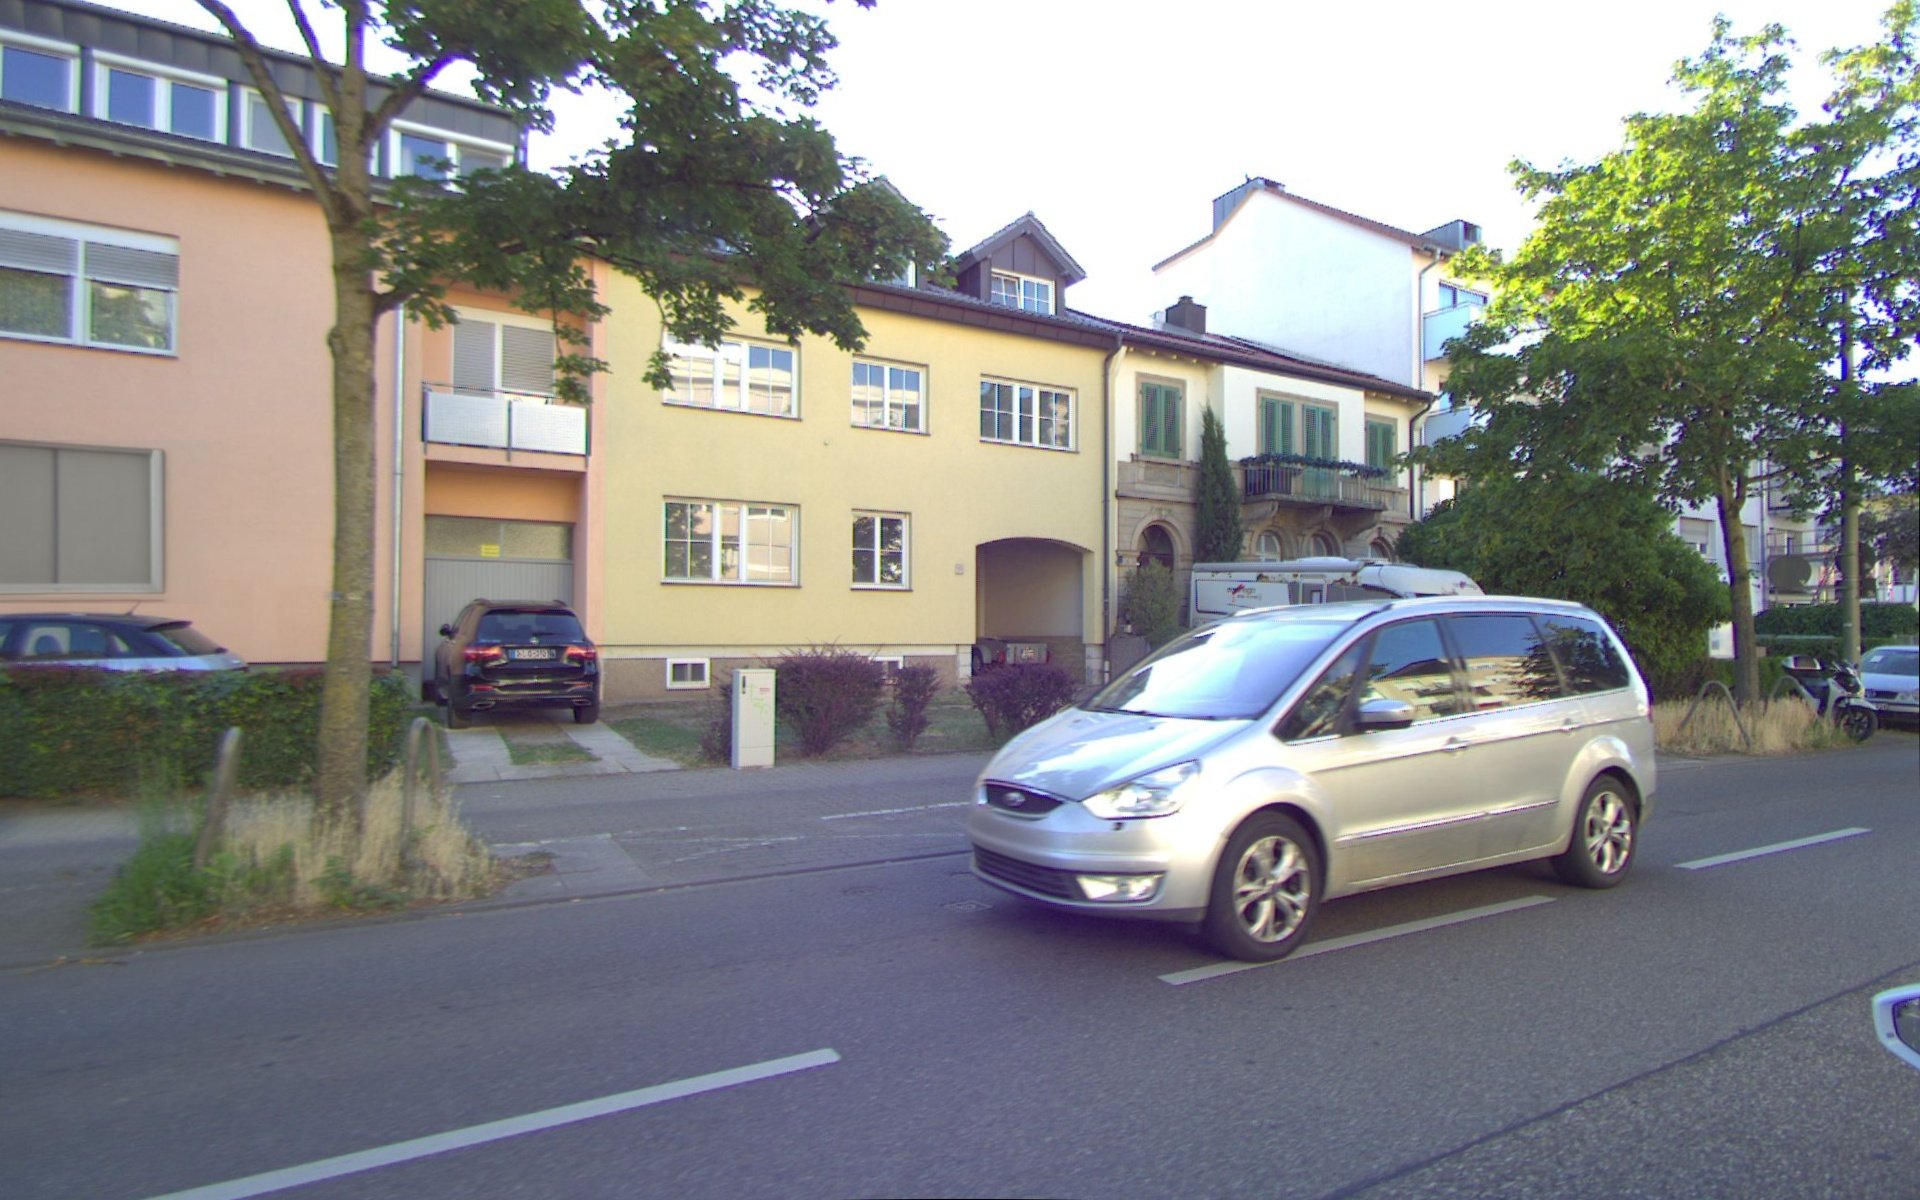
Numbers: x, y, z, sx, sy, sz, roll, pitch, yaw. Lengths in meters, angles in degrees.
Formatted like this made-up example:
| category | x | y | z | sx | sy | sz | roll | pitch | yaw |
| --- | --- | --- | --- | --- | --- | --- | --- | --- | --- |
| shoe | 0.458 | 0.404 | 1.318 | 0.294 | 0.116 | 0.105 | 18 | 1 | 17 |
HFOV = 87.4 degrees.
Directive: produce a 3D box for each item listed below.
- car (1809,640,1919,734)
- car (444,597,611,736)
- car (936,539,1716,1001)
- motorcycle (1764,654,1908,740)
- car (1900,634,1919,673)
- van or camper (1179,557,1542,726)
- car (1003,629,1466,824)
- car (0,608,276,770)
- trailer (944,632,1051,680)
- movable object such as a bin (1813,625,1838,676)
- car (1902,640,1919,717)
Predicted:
| category | x | y | z | sx | sy | sz | roll | pitch | yaw |
| --- | --- | --- | --- | --- | --- | --- | --- | --- | --- |
| car | 17.321 | 1.524 | 18.350 | 3.758 | 1.490 | 1.586 | 2 | 0 | -30 |
| car | -6.300 | 0.818 | 14.386 | 1.843 | 1.657 | 3.970 | 1 | 0 | -28 |
| car | 2.327 | 0.771 | 5.984 | 4.690 | 1.828 | 1.797 | 2 | -4 | -31 |
| motorcycle | 14.185 | 1.535 | 16.358 | 0.751 | 1.281 | 2.056 | 0 | -2 | 8 |
| car | 47.114 | 2.514 | 46.741 | 1.840 | 1.835 | 4.613 | 1 | -2 | -30 |
| van or camper | 7.653 | 0.659 | 20.237 | 2.325 | 2.810 | 6.764 | 1 | 0 | -30 |
| car | 2.813 | 1.092 | 10.018 | 4.464 | 1.514 | 1.859 | 2 | 0 | -30 |
| car | -8.916 | 0.821 | 9.631 | 3.706 | 1.427 | 1.658 | 1 | -3 | -29 |
| trailer | 0.885 | 1.338 | 24.596 | 1.608 | 0.973 | 2.393 | 1 | 1 | -30 |
| movable object such as a bin | 24.709 | 1.436 | 28.675 | 0.569 | 1.446 | 0.390 | 1 | -2 | -31 |
| car | 21.229 | 1.625 | 20.644 | 4.025 | 1.538 | 1.641 | 2 | -1 | -30 |
